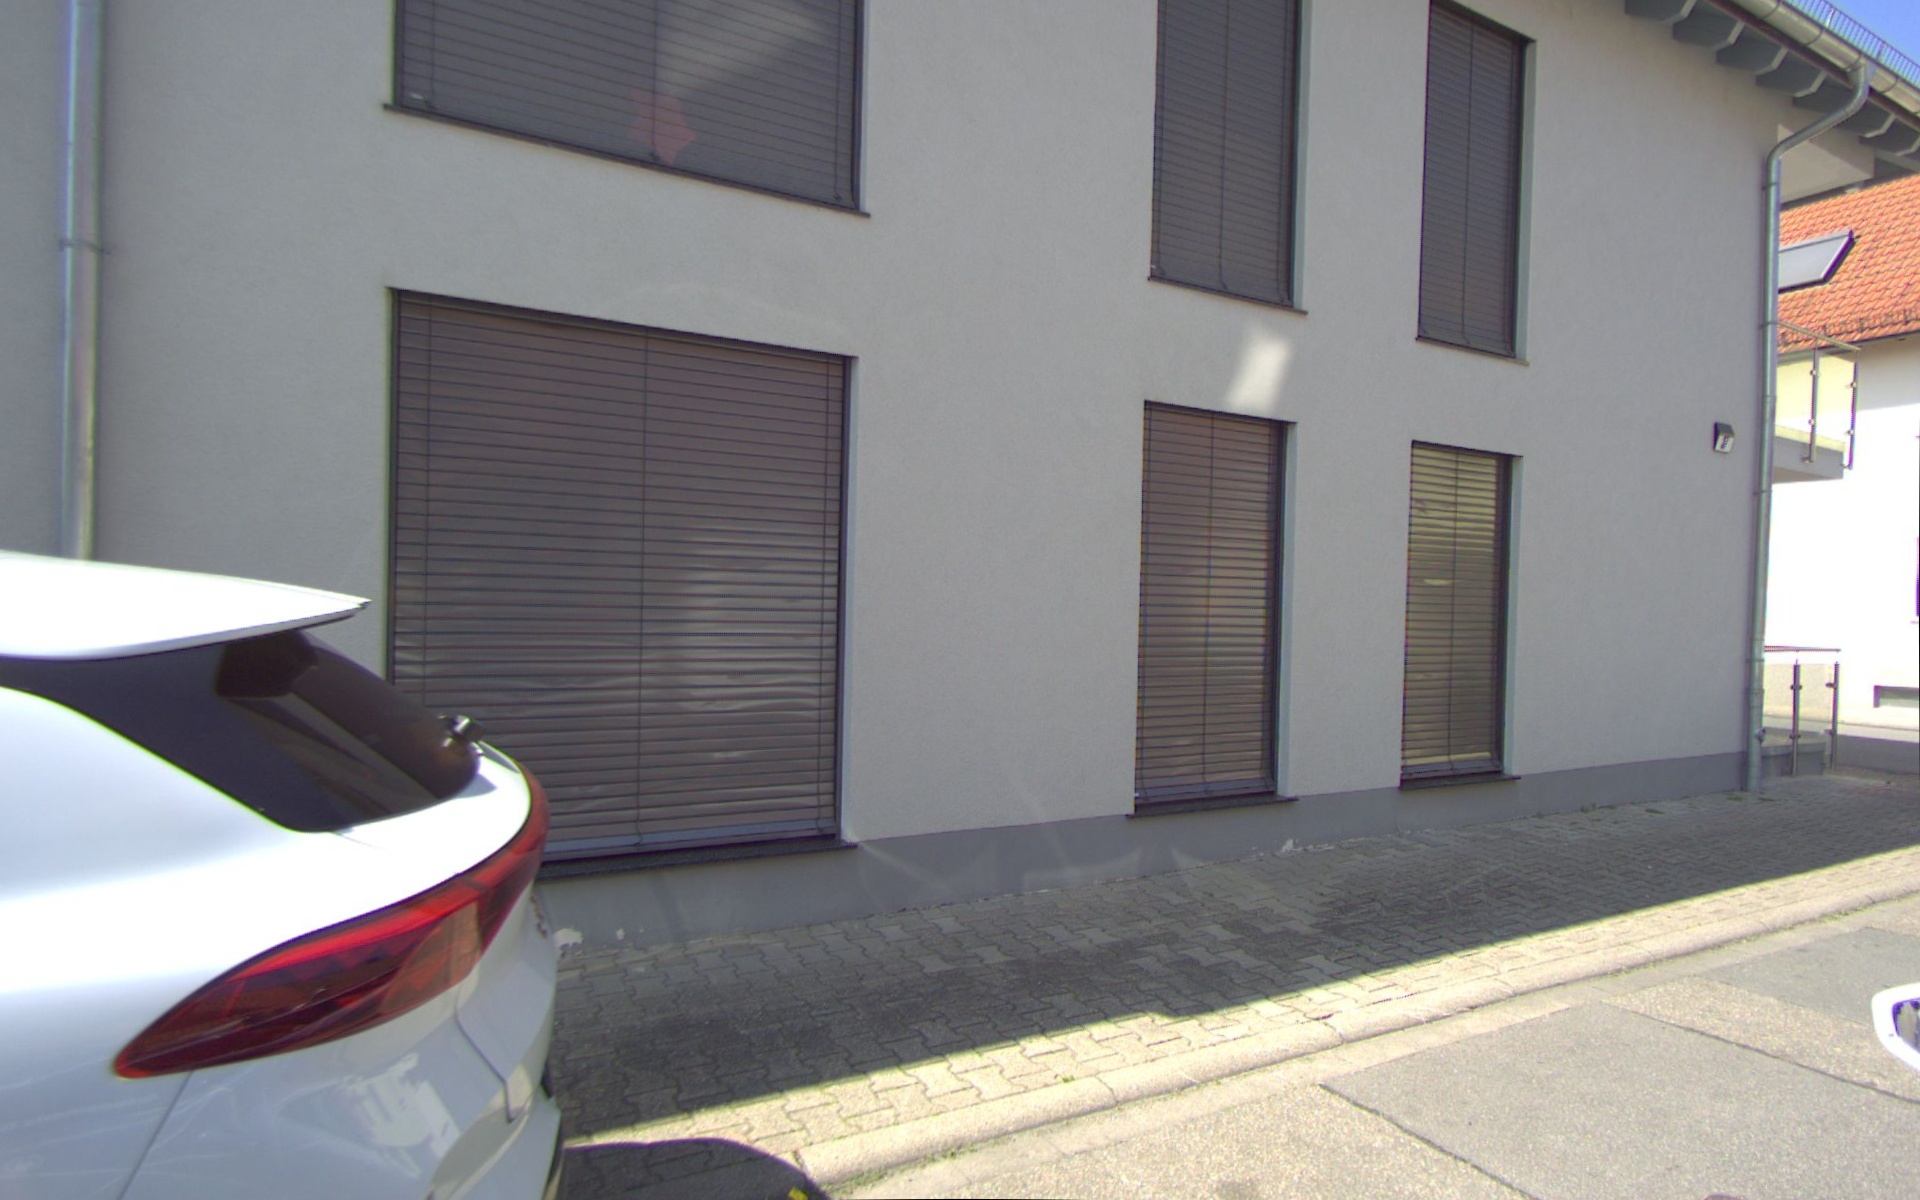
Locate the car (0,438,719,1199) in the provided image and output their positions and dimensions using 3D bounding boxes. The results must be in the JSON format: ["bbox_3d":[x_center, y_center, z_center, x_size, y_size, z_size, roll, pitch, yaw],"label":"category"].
[{"bbox_3d":[-2.591,0.648,0.902,4.298,1.637,1.765,1,-1,-30],"label":"car"}]
